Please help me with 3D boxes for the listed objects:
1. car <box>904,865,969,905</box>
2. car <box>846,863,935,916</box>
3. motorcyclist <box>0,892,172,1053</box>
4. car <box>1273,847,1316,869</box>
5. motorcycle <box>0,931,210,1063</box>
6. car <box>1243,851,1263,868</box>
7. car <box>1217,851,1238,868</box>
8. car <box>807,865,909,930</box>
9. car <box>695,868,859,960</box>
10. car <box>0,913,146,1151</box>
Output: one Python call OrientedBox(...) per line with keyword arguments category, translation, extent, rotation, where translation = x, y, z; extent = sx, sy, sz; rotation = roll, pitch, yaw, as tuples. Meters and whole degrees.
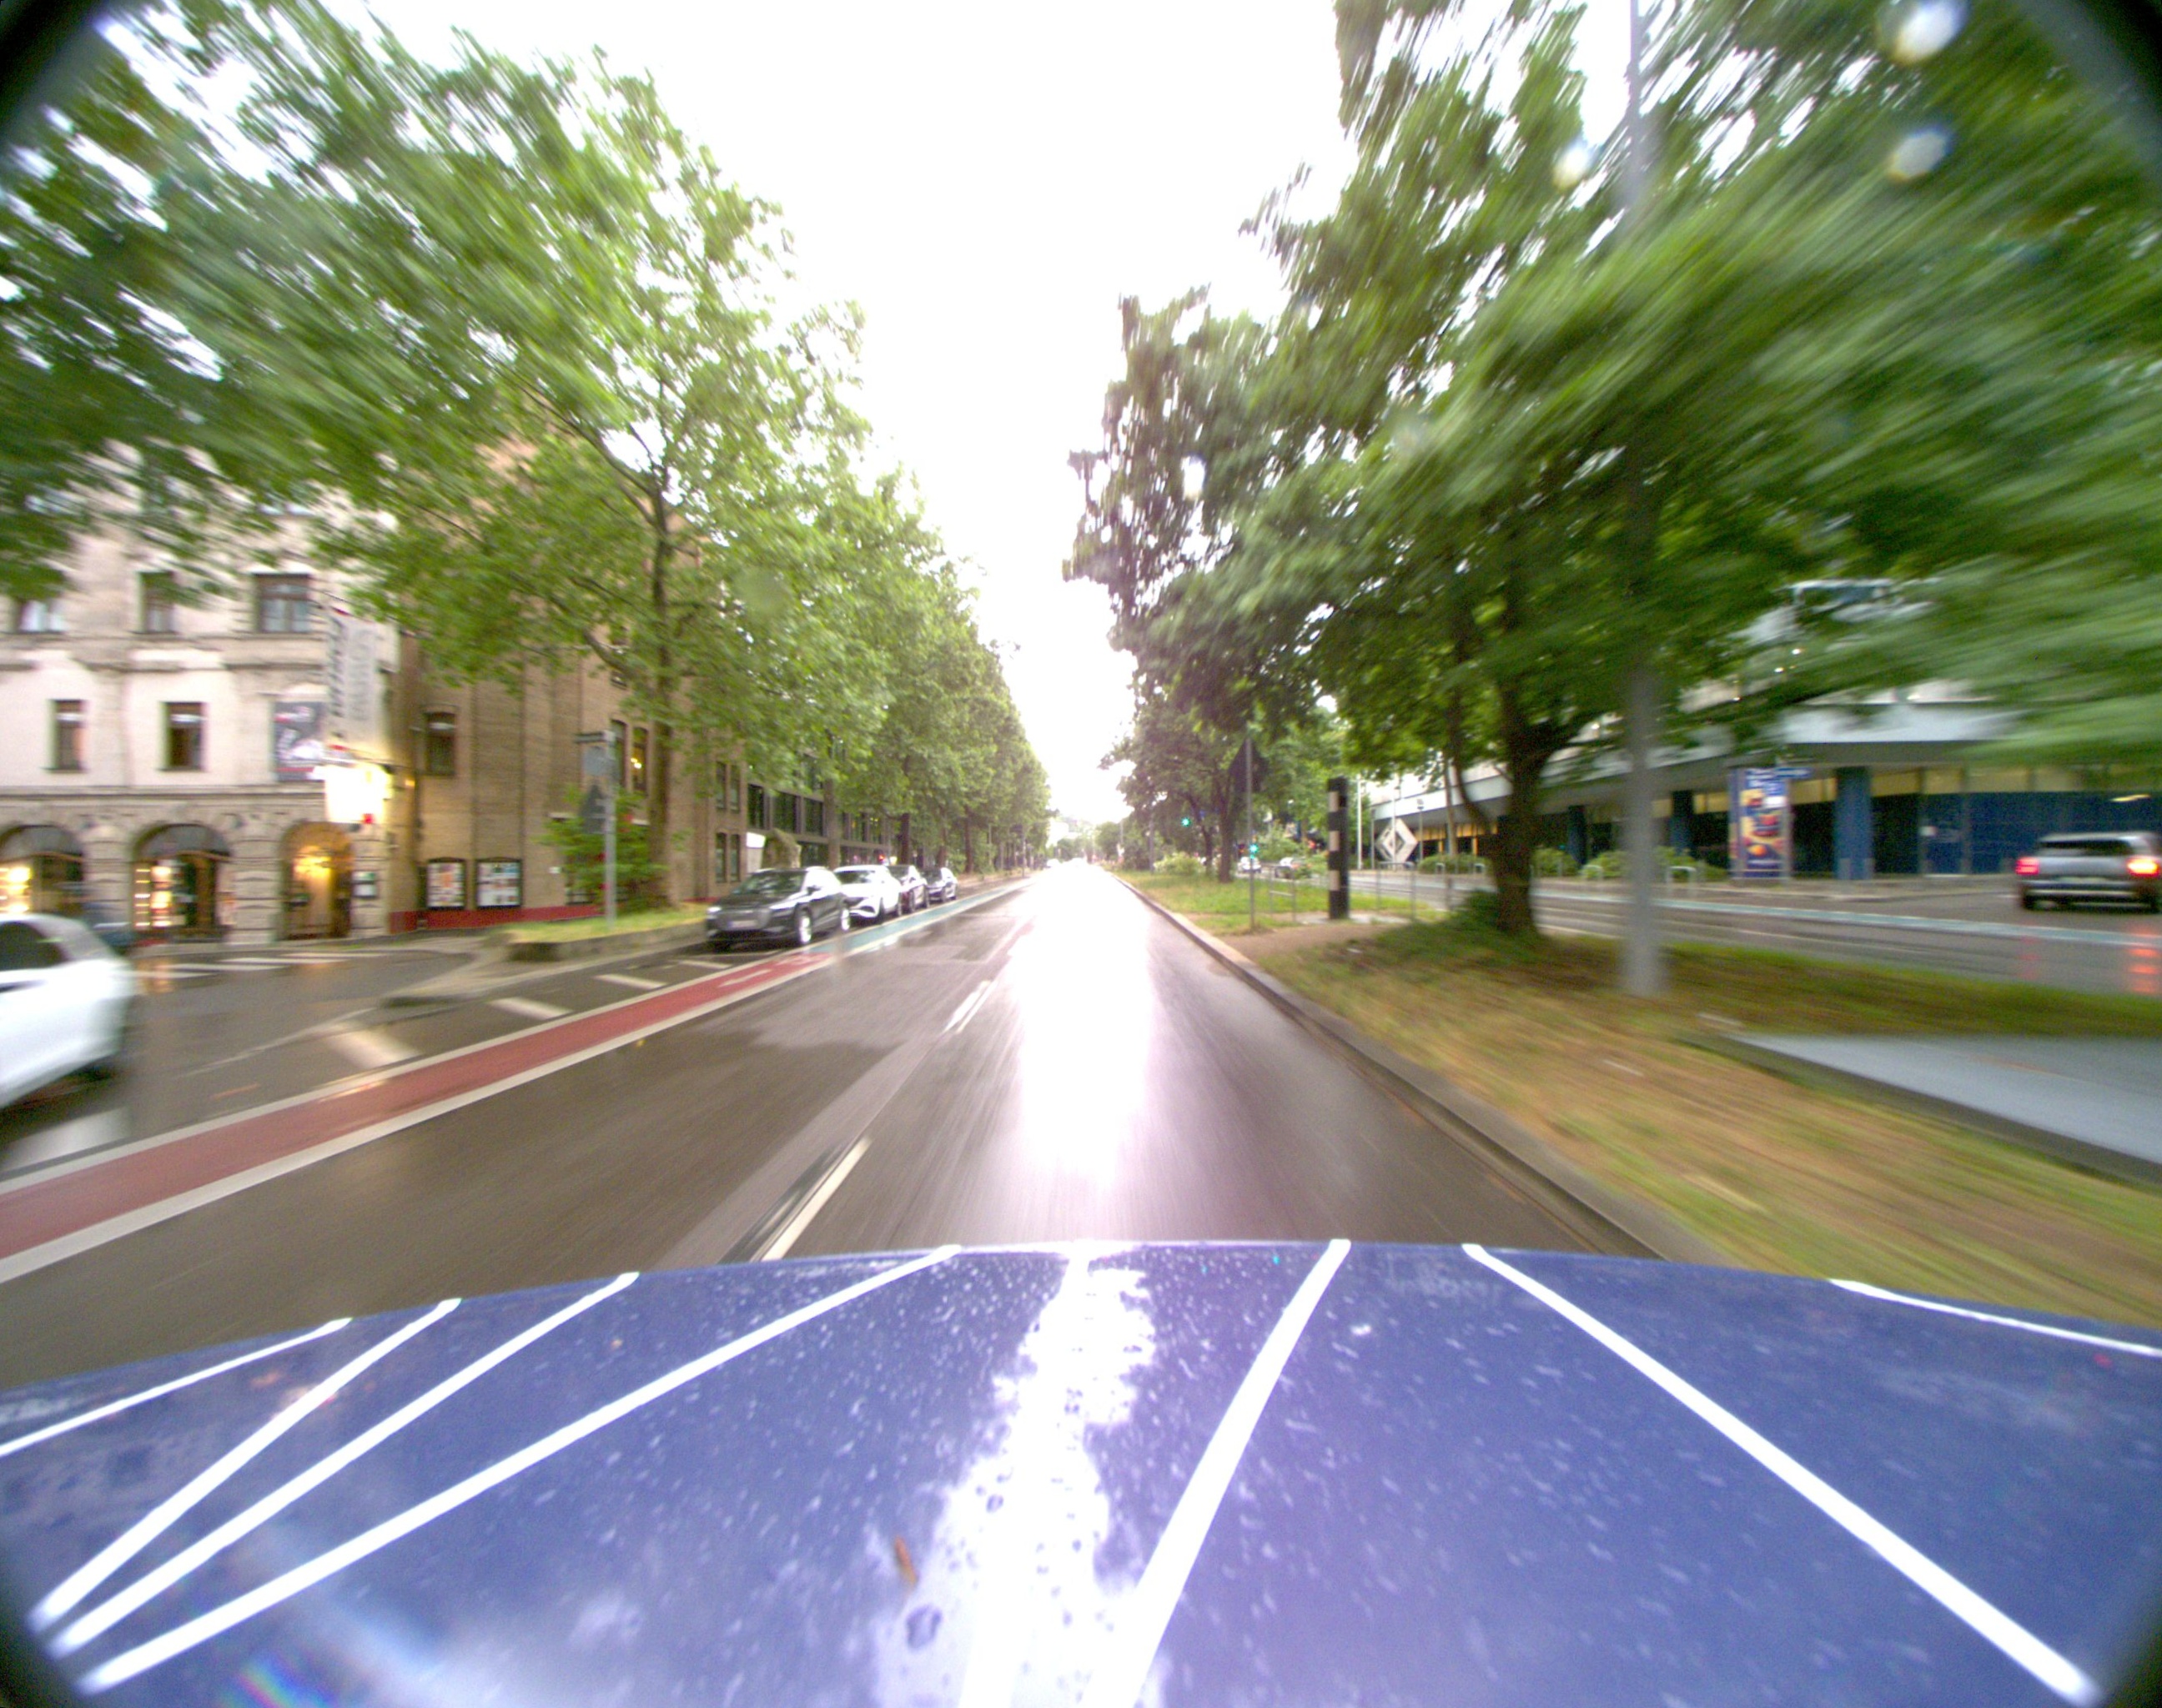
OrientedBox(category="car", translation=(-6.020, 1.264, 32.157), extent=(1.747, 1.424, 4.586), rotation=(-2, 0, 1))
OrientedBox(category="car", translation=(-6.485, 1.160, 26.443), extent=(1.999, 1.580, 4.560), rotation=(-2, 0, -1))
OrientedBox(category="motorcyclist", translation=(-11.196, 1.283, 8.558), extent=(0.850, 1.635, 0.870), rotation=(-2, 0, -17))
OrientedBox(category="car", translation=(14.874, 0.300, 53.130), extent=(1.998, 1.483, 4.758), rotation=(0, 0, 4))
OrientedBox(category="motorcycle", translation=(-11.181, 1.536, 8.533), extent=(0.869, 1.136, 2.019), rotation=(-2, 0, -17))
OrientedBox(category="car", translation=(15.547, 0.517, 68.932), extent=(1.163, 1.454, 3.561), rotation=(-1, 0, 3))
OrientedBox(category="car", translation=(16.711, 0.634, 86.821), extent=(1.998, 1.791, 4.283), rotation=(-1, 0, 5))
OrientedBox(category="car", translation=(-6.189, 1.133, 21.602), extent=(1.756, 1.576, 4.409), rotation=(-2, 0, -3))
OrientedBox(category="car", translation=(-6.430, 1.187, 16.691), extent=(1.797, 1.593, 4.423), rotation=(-2, 0, 0))
OrientedBox(category="car", translation=(-7.974, 1.233, 4.623), extent=(1.871, 1.436, 4.497), rotation=(-2, 0, -38))
